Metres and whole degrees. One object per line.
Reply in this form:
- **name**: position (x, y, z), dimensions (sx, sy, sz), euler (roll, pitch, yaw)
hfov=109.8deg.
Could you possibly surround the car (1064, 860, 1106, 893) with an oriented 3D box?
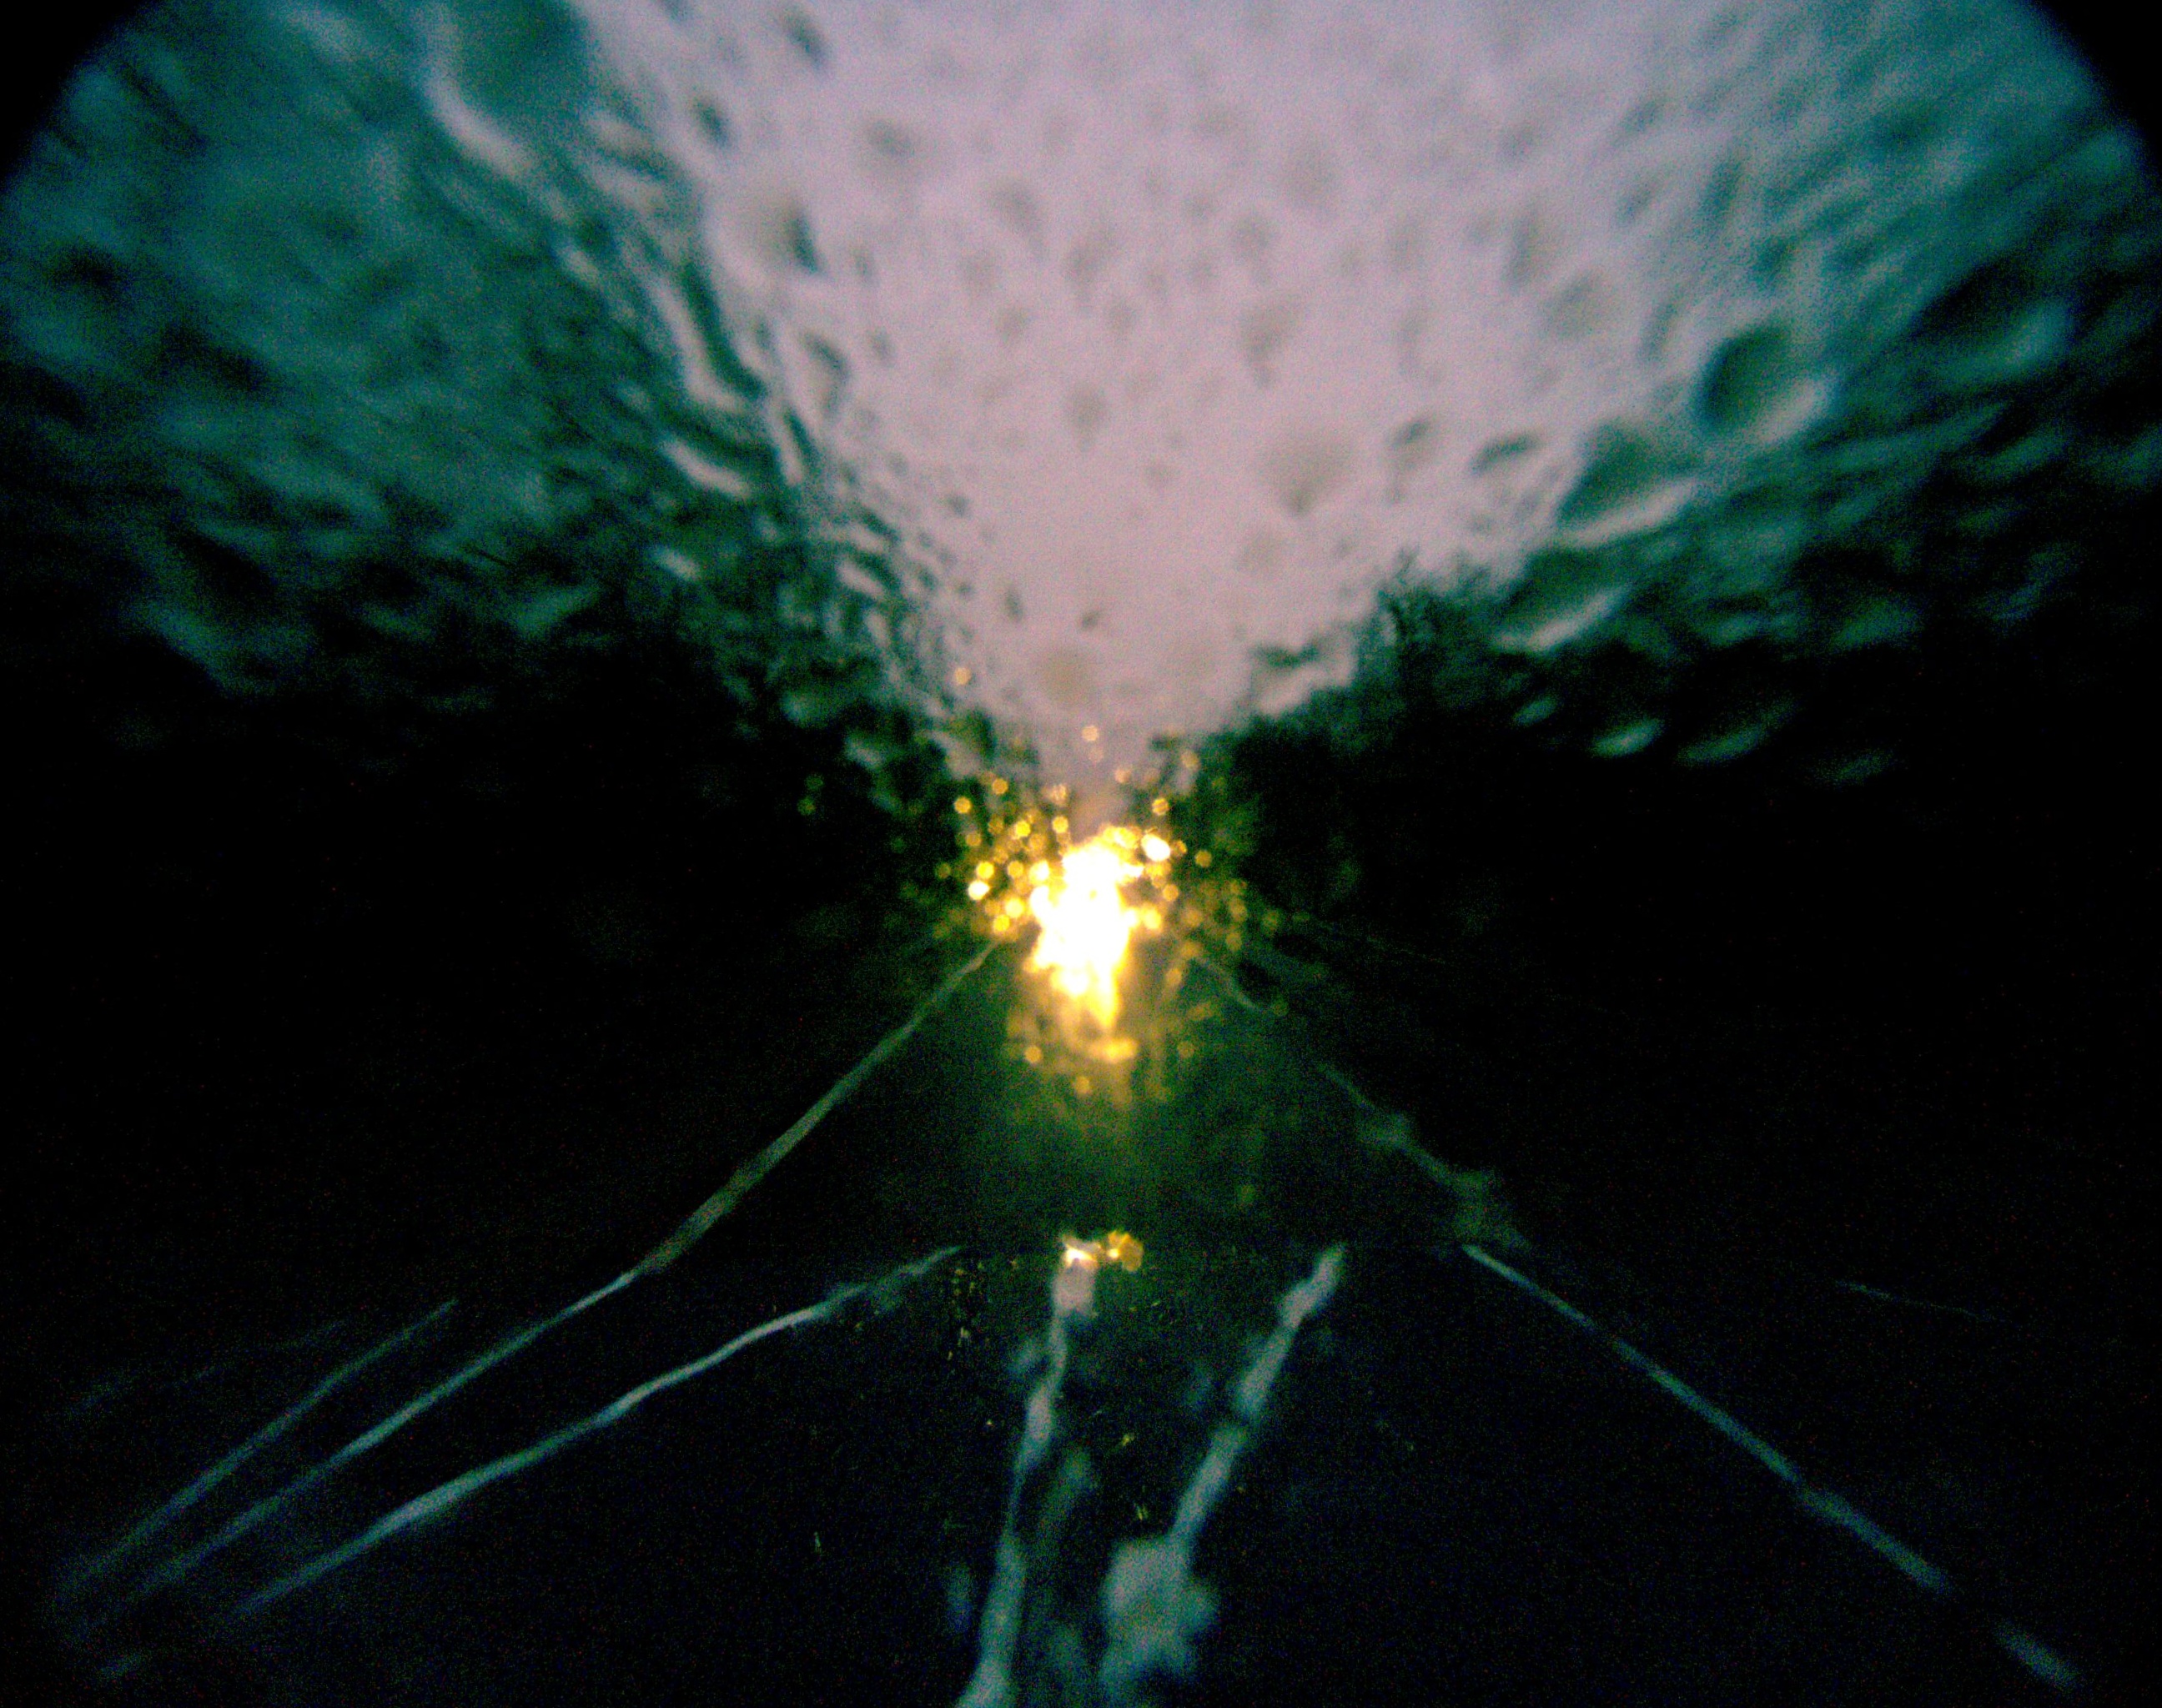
- **car**: position (0.221, 0.999, 35.095), dimensions (1.845, 1.390, 4.000), euler (-1, 0, 1)
